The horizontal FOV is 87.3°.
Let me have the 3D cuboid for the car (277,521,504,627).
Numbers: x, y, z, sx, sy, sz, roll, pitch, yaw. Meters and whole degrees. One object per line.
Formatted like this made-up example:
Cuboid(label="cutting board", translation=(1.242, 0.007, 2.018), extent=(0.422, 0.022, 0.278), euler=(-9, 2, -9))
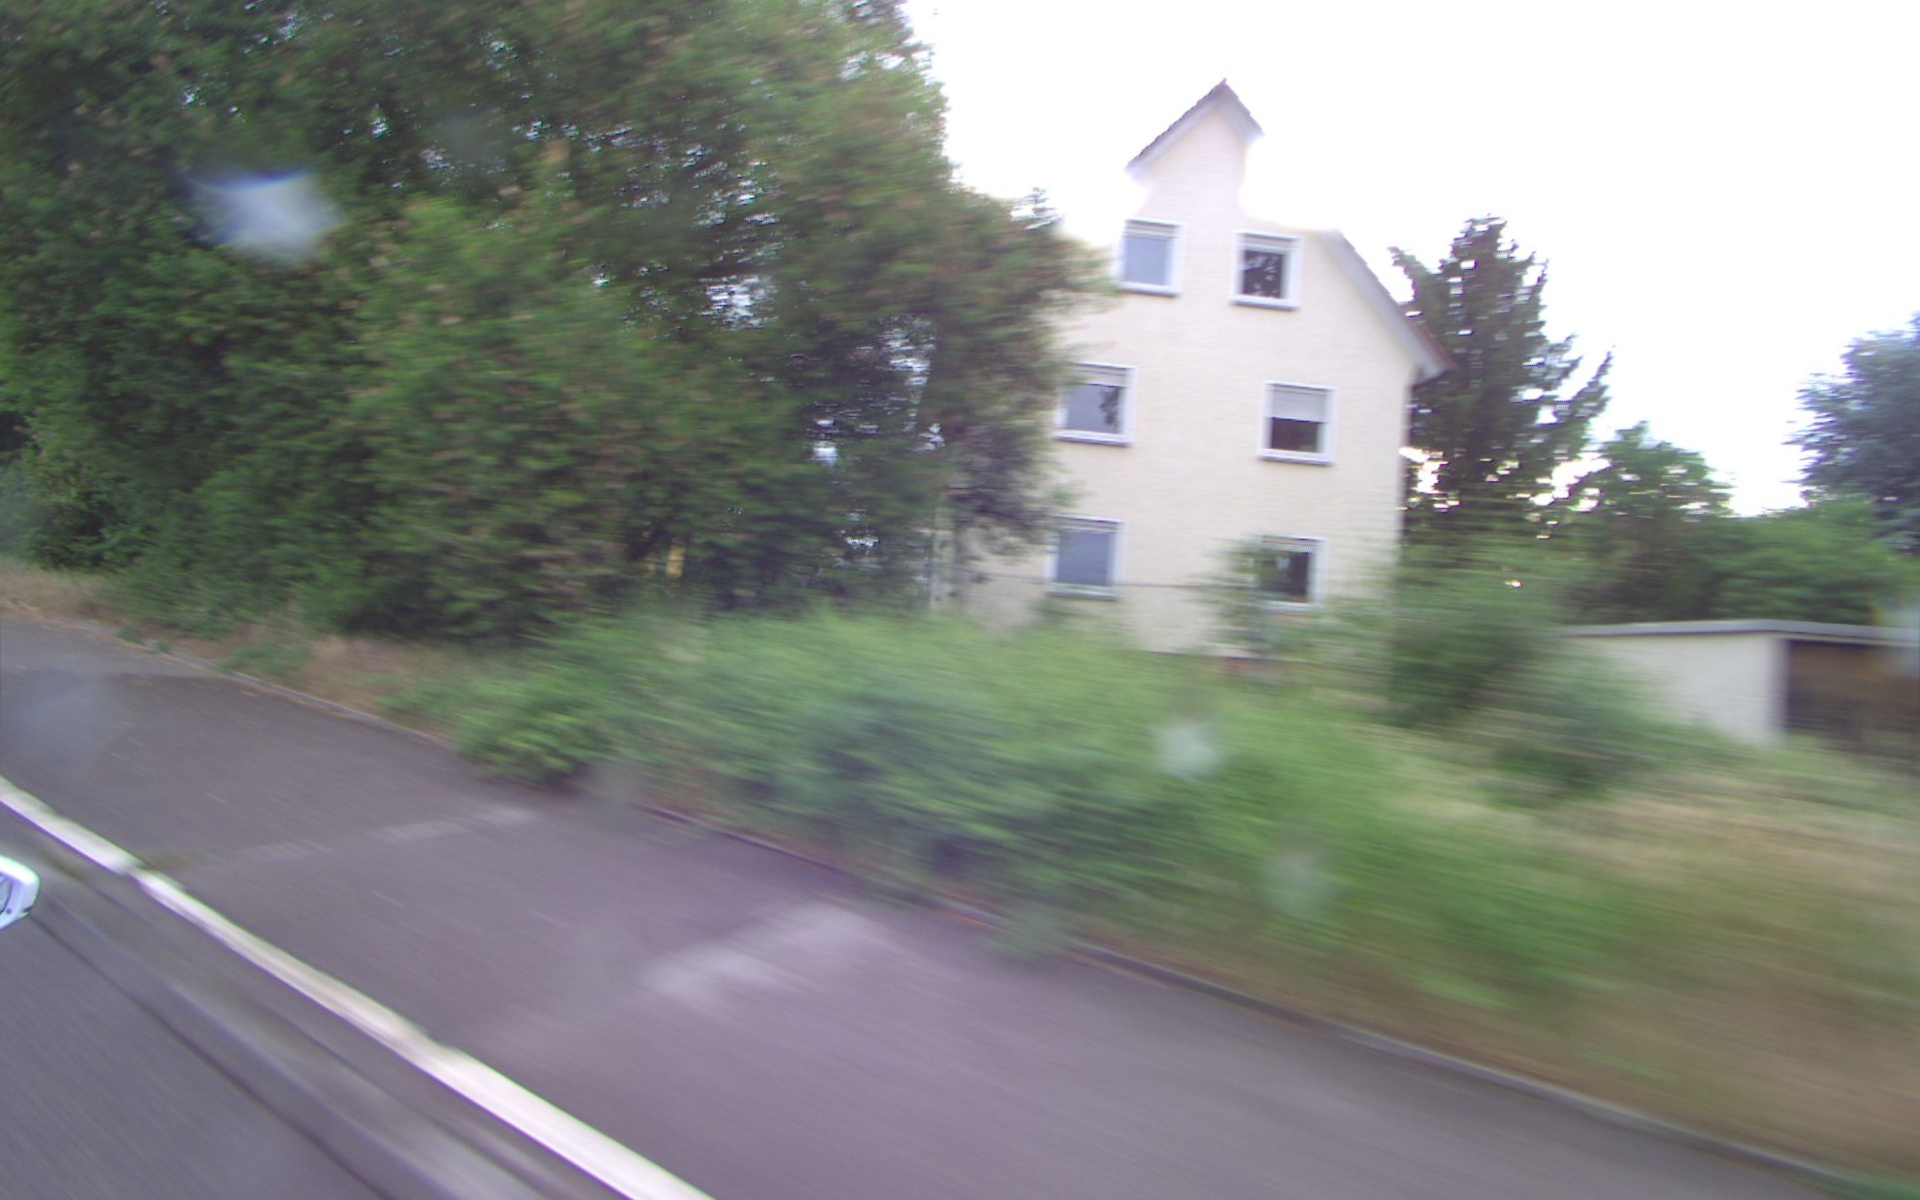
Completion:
Cuboid(label="car", translation=(-9.185, -0.369, 16.524), extent=(1.662, 1.401, 3.152), euler=(6, 0, 4))
